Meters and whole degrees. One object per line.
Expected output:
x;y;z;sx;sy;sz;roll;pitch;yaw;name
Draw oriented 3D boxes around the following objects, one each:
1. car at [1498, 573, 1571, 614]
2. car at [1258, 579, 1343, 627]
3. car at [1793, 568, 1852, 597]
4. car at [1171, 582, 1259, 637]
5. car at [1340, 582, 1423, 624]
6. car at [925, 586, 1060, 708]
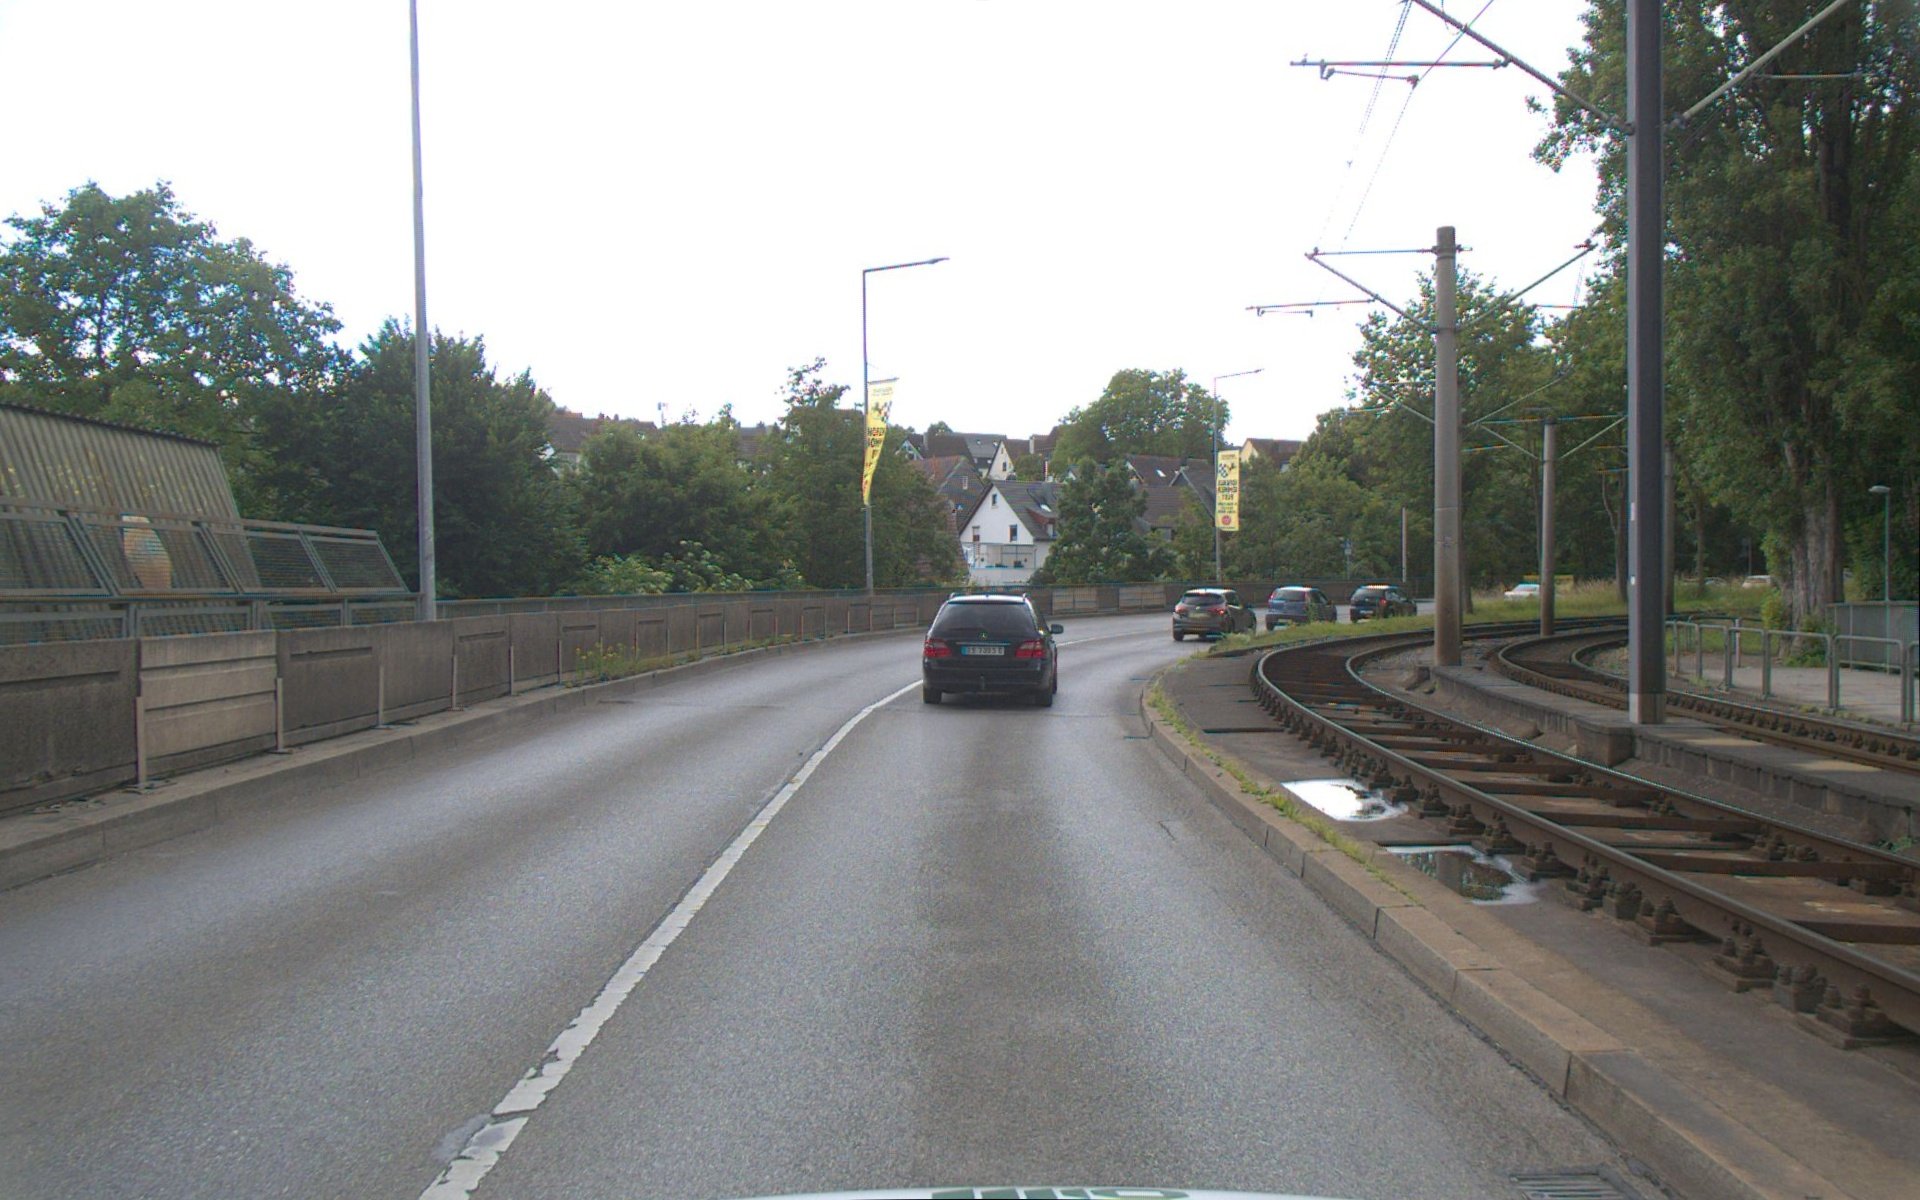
27.047;-0.317;77.805;1.772;1.741;3.963;-2;2;43;car
11.954;0.079;57.900;1.758;1.582;4.380;-1;1;27;car
52.465;-1.073;100.610;3.964;1.579;1.796;-4;2;-40;car
7.751;0.256;49.994;1.734;1.582;4.241;-1;1;22;car
16.490;0.093;64.569;1.741;1.582;4.224;0;0;36;car
0.541;0.589;23.608;1.722;1.542;4.444;1;0;3;car
